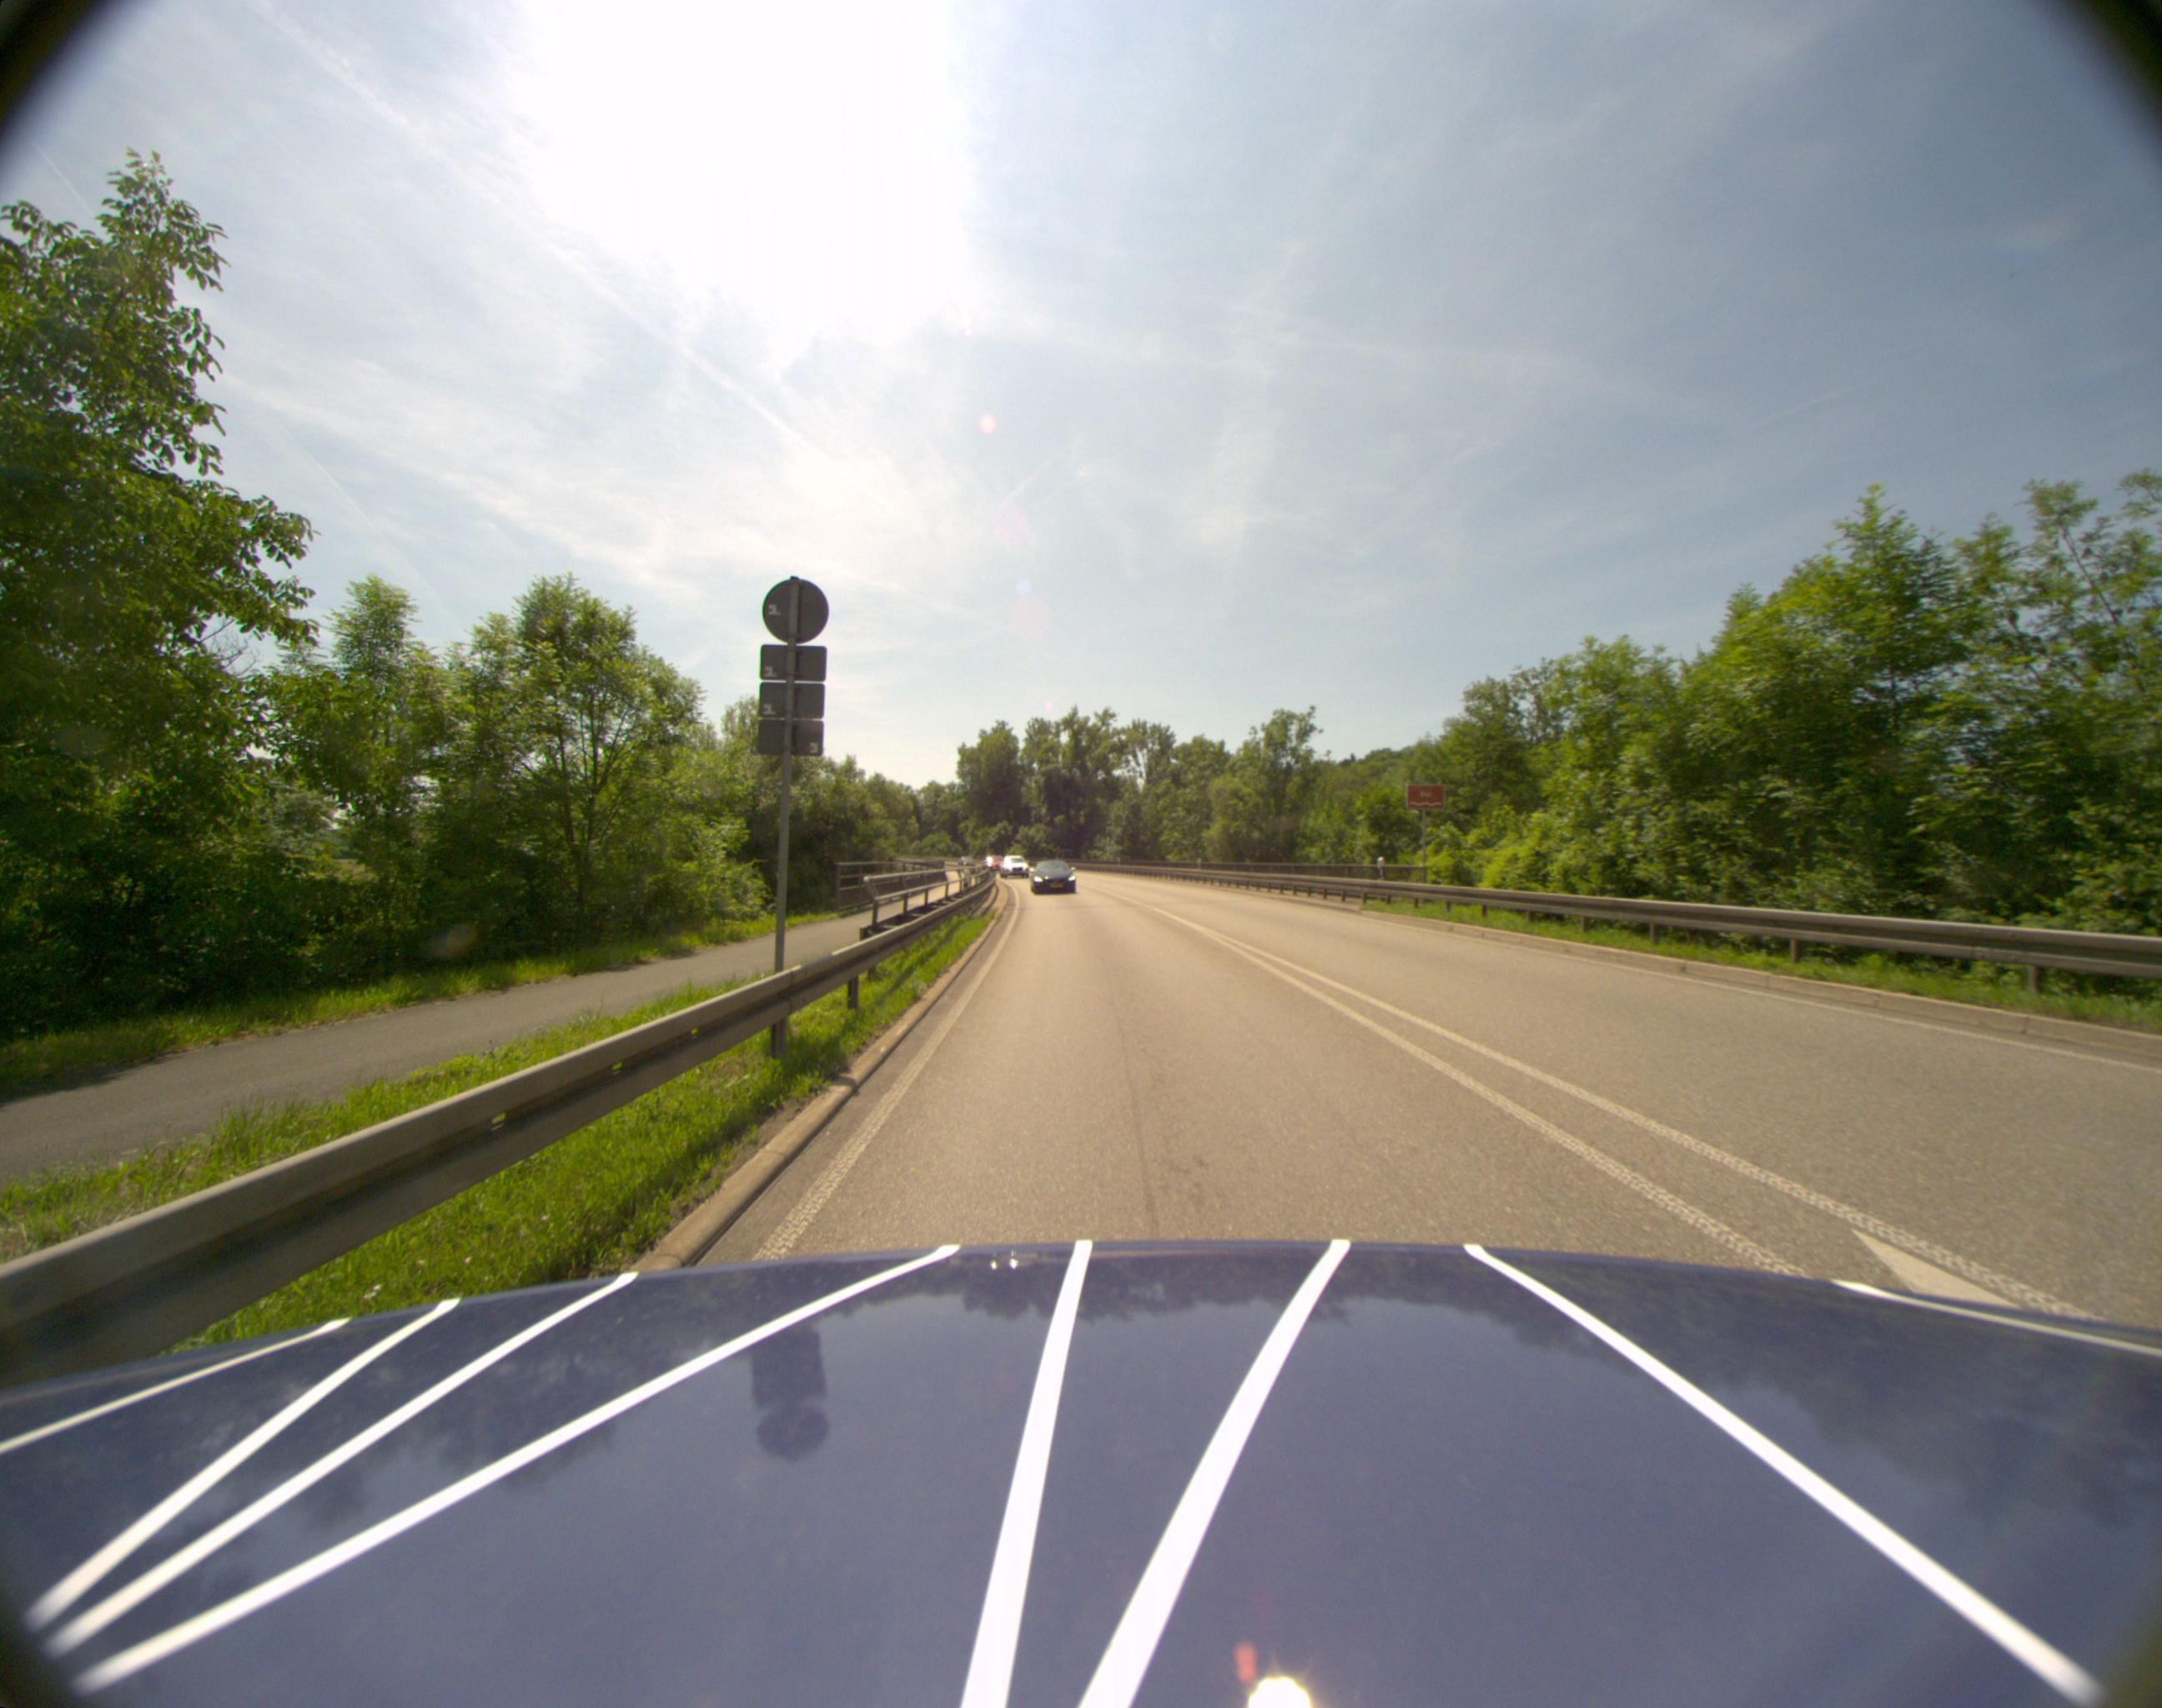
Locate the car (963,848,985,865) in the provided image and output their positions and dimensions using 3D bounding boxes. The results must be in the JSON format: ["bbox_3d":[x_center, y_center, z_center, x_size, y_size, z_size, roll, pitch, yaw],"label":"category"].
[{"bbox_3d":[-13.068,0.272,92.513,2.001,2.002,3.993,-3,1,-18],"label":"car"}]

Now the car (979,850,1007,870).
[{"bbox_3d":[-8.320,0.599,71.617,2.001,1.765,3.995,-2,0,-14],"label":"car"}]

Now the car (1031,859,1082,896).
[{"bbox_3d":[-1.136,0.980,33.259,1.910,1.413,3.948,-2,1,-6],"label":"car"}]

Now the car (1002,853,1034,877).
[{"bbox_3d":[-4.755,0.801,56.844,1.911,1.638,3.946,-2,0,-11],"label":"car"}]
